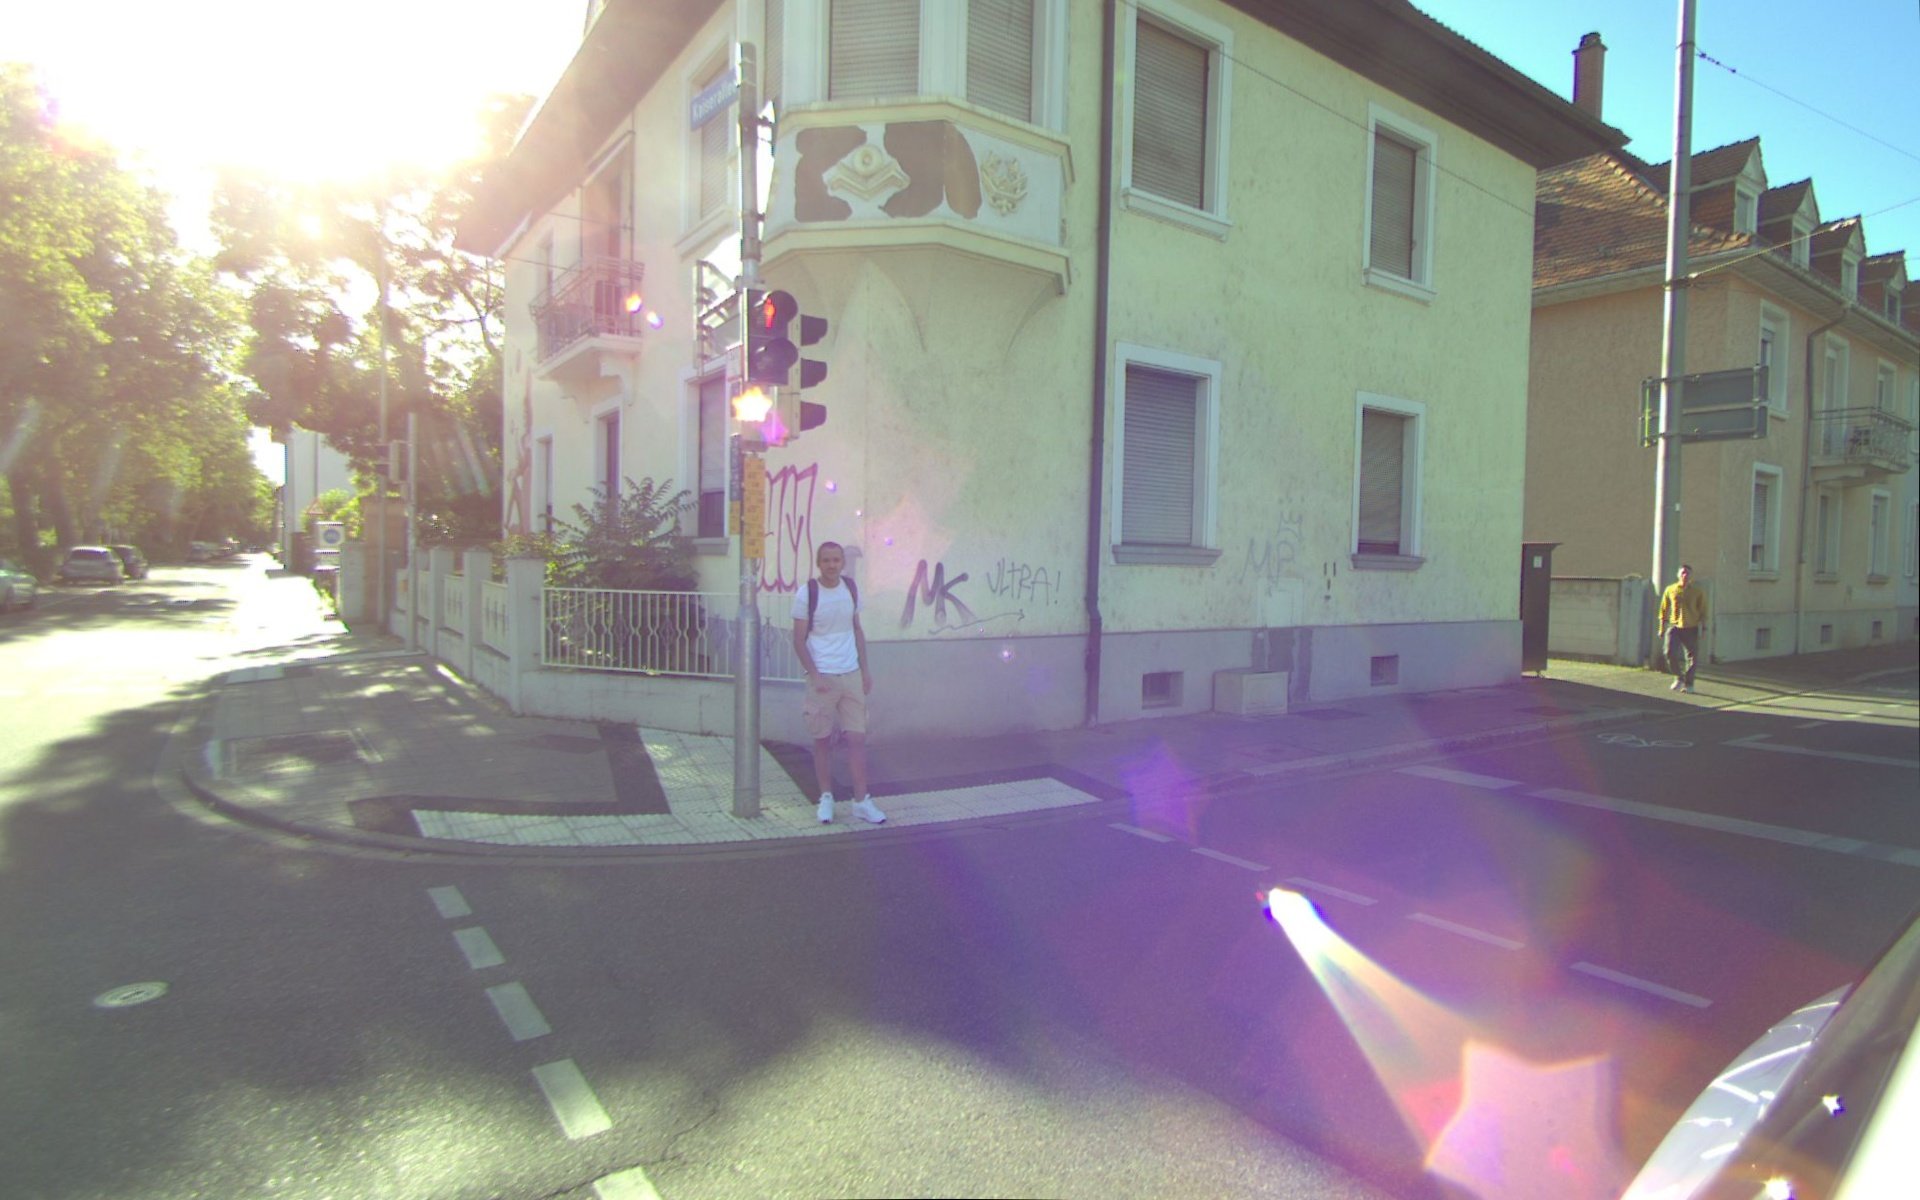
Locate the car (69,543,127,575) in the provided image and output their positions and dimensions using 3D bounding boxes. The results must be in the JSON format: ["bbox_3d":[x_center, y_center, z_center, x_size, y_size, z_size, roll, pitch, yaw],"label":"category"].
[{"bbox_3d":[-41.065,-1.968,48.279,1.884,1.471,4.501,0,3,-38],"label":"car"}]

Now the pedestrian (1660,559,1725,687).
[{"bbox_3d":[10.511,0.315,14.530,0.478,1.782,0.602,0,2,-38],"label":"pedestrian"}]

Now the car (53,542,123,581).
[{"bbox_3d":[-35.243,-1.576,40.980,1.884,1.471,4.501,0,3,-38],"label":"car"}]

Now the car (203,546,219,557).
[{"bbox_3d":[-108.781,-7.049,146.965,1.884,1.625,4.501,0,3,-38],"label":"car"}]

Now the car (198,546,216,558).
[{"bbox_3d":[-101.259,-6.437,136.009,1.884,1.625,4.501,0,3,-38],"label":"car"}]

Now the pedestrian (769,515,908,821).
[{"bbox_3d":[-0.772,0.377,6.271,0.660,1.760,0.692,1,5,-20],"label":"pedestrian"}]

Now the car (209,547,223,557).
[{"bbox_3d":[-126.873,-8.133,172.595,1.884,1.625,4.501,0,3,-38],"label":"car"}]

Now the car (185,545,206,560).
[{"bbox_3d":[-87.414,-5.395,115.677,1.884,1.625,4.501,0,3,-38],"label":"car"}]

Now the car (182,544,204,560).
[{"bbox_3d":[-82.062,-5.155,108.238,1.884,1.625,4.501,0,3,-38],"label":"car"}]

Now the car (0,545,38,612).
[{"bbox_3d":[-23.293,-0.564,23.895,1.884,1.471,4.501,0,3,-38],"label":"car"}]
